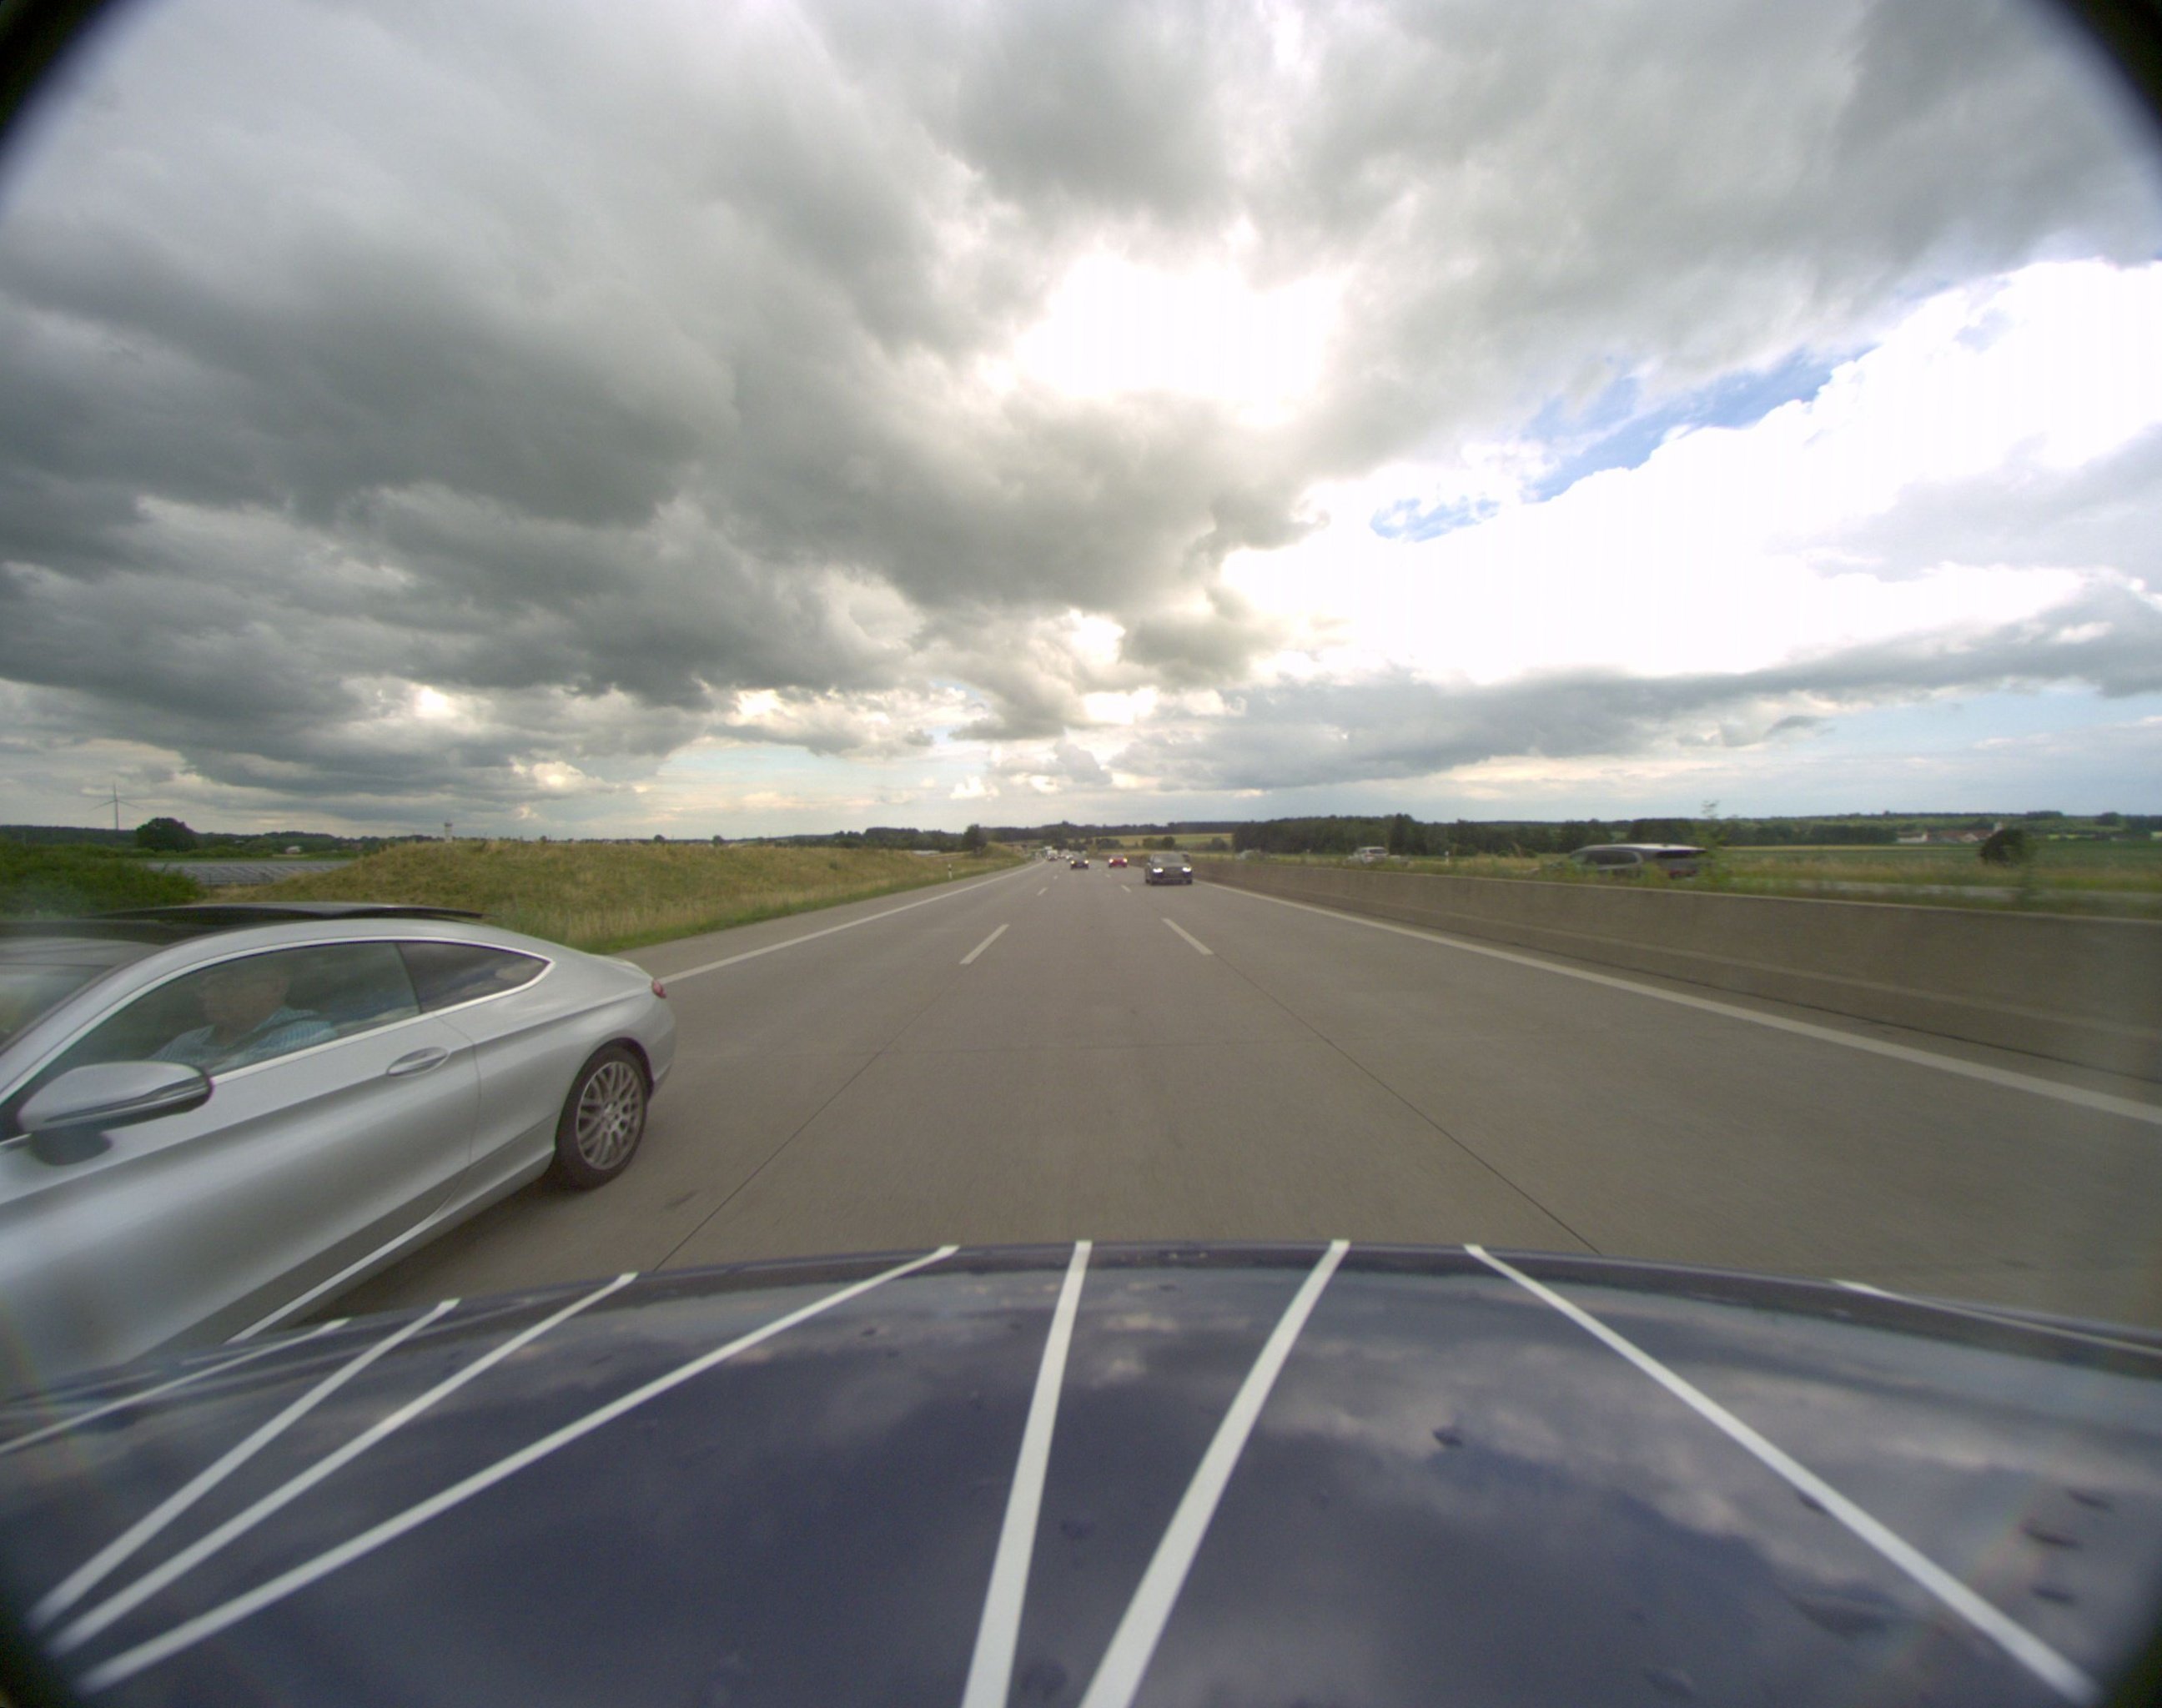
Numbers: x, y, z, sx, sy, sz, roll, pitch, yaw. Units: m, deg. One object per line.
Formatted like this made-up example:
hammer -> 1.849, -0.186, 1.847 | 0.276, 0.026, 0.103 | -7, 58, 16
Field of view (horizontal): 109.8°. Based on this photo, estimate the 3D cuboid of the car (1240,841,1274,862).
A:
car -> 15.543, -0.235, 67.242 | 1.906, 1.684, 4.674 | -2, 1, 0

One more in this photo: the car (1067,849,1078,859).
car -> -1.639, 0.021, 149.214 | 1.999, 2.002, 3.999 | -2, 0, -2

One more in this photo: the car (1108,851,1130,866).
car -> 3.823, 0.470, 77.006 | 1.822, 1.364, 3.782 | -3, 1, -1

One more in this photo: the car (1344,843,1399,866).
car -> 19.828, 0.000, 52.030 | 1.902, 1.462, 4.848 | -2, 1, 0

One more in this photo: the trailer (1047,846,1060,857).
trailer -> -6.376, -0.669, 177.264 | 2.616, 2.519, 6.717 | -2, 1, -6

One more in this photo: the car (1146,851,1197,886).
car -> 4.087, 0.617, 34.961 | 1.939, 1.464, 4.000 | -2, 0, 1

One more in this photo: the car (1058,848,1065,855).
car -> -6.475, -0.817, 251.930 | 1.999, 2.002, 3.997 | -2, 1, -5

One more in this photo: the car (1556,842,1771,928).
car -> 12.183, 0.561, 16.228 | 1.717, 1.547, 3.769 | -2, 1, 1

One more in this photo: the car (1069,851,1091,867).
car -> -0.132, 0.470, 74.723 | 1.691, 1.405, 3.997 | -2, 1, -6

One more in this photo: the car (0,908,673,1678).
car -> -3.166, 1.043, 2.030 | 1.793, 1.395, 4.221 | -2, 1, 1

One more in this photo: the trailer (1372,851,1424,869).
trailer -> 19.870, 0.362, 47.833 | 1.791, 0.977, 3.562 | -2, 1, 0

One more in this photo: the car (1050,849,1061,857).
car -> -5.773, -0.231, 171.463 | 1.945, 1.799, 5.028 | -2, 1, -6

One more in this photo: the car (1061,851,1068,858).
car -> -4.857, 0.084, 220.900 | 1.810, 2.002, 3.840 | -3, 1, -5

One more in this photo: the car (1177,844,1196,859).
car -> 12.749, -0.311, 92.029 | 1.614, 1.594, 4.176 | -2, 1, 0
